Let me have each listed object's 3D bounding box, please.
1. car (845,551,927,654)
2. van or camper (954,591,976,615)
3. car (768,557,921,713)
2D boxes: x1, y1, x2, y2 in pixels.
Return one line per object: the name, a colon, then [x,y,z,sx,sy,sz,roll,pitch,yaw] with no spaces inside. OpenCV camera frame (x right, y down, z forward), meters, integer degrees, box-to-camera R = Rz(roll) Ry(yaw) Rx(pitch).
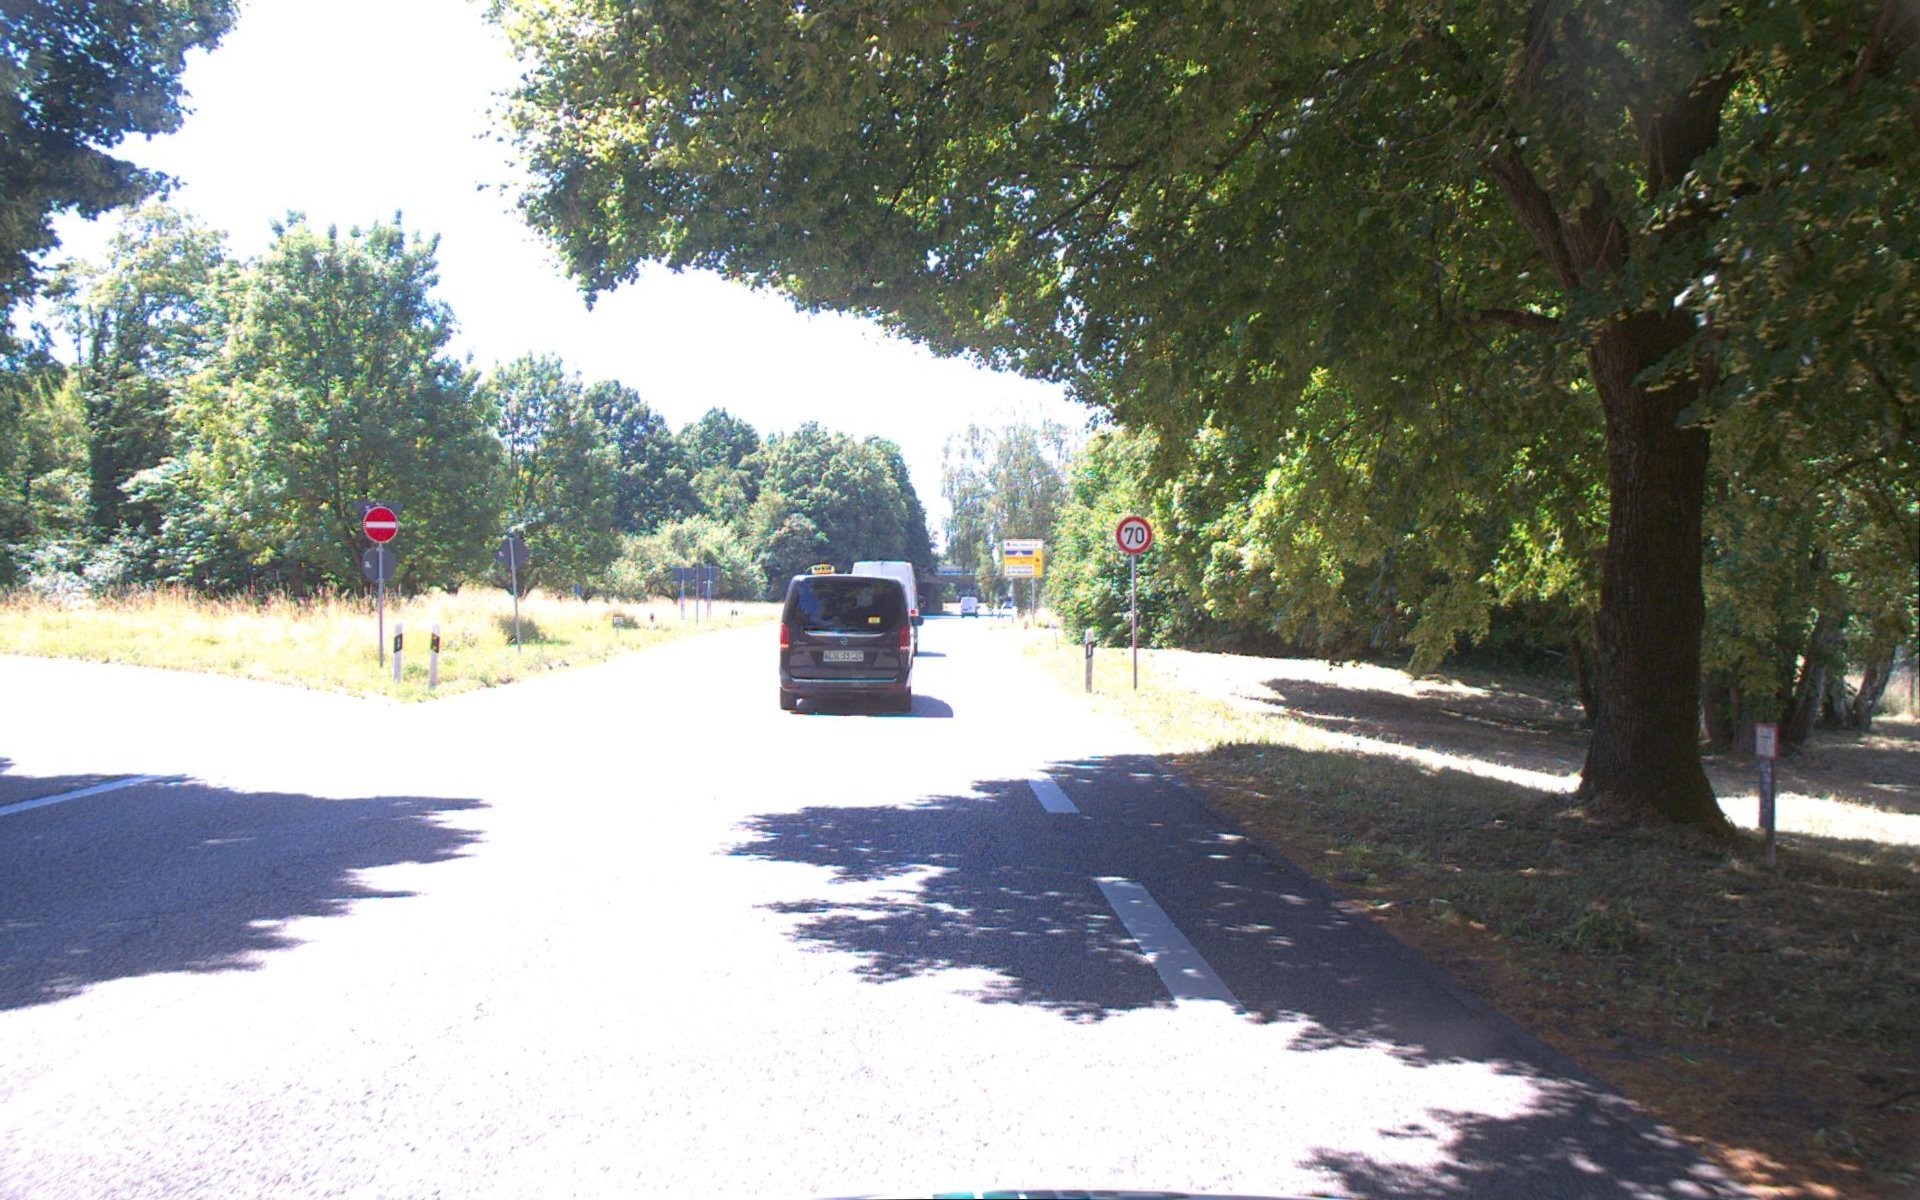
car: [-2.076,0.081,47.688,2.035,2.750,4.666,2,0,0]
van or camper: [0.645,0.398,210.720,2.579,2.980,5.204,1,0,-2]
car: [-1.587,0.472,24.398,1.953,1.987,5.003,2,0,-1]
